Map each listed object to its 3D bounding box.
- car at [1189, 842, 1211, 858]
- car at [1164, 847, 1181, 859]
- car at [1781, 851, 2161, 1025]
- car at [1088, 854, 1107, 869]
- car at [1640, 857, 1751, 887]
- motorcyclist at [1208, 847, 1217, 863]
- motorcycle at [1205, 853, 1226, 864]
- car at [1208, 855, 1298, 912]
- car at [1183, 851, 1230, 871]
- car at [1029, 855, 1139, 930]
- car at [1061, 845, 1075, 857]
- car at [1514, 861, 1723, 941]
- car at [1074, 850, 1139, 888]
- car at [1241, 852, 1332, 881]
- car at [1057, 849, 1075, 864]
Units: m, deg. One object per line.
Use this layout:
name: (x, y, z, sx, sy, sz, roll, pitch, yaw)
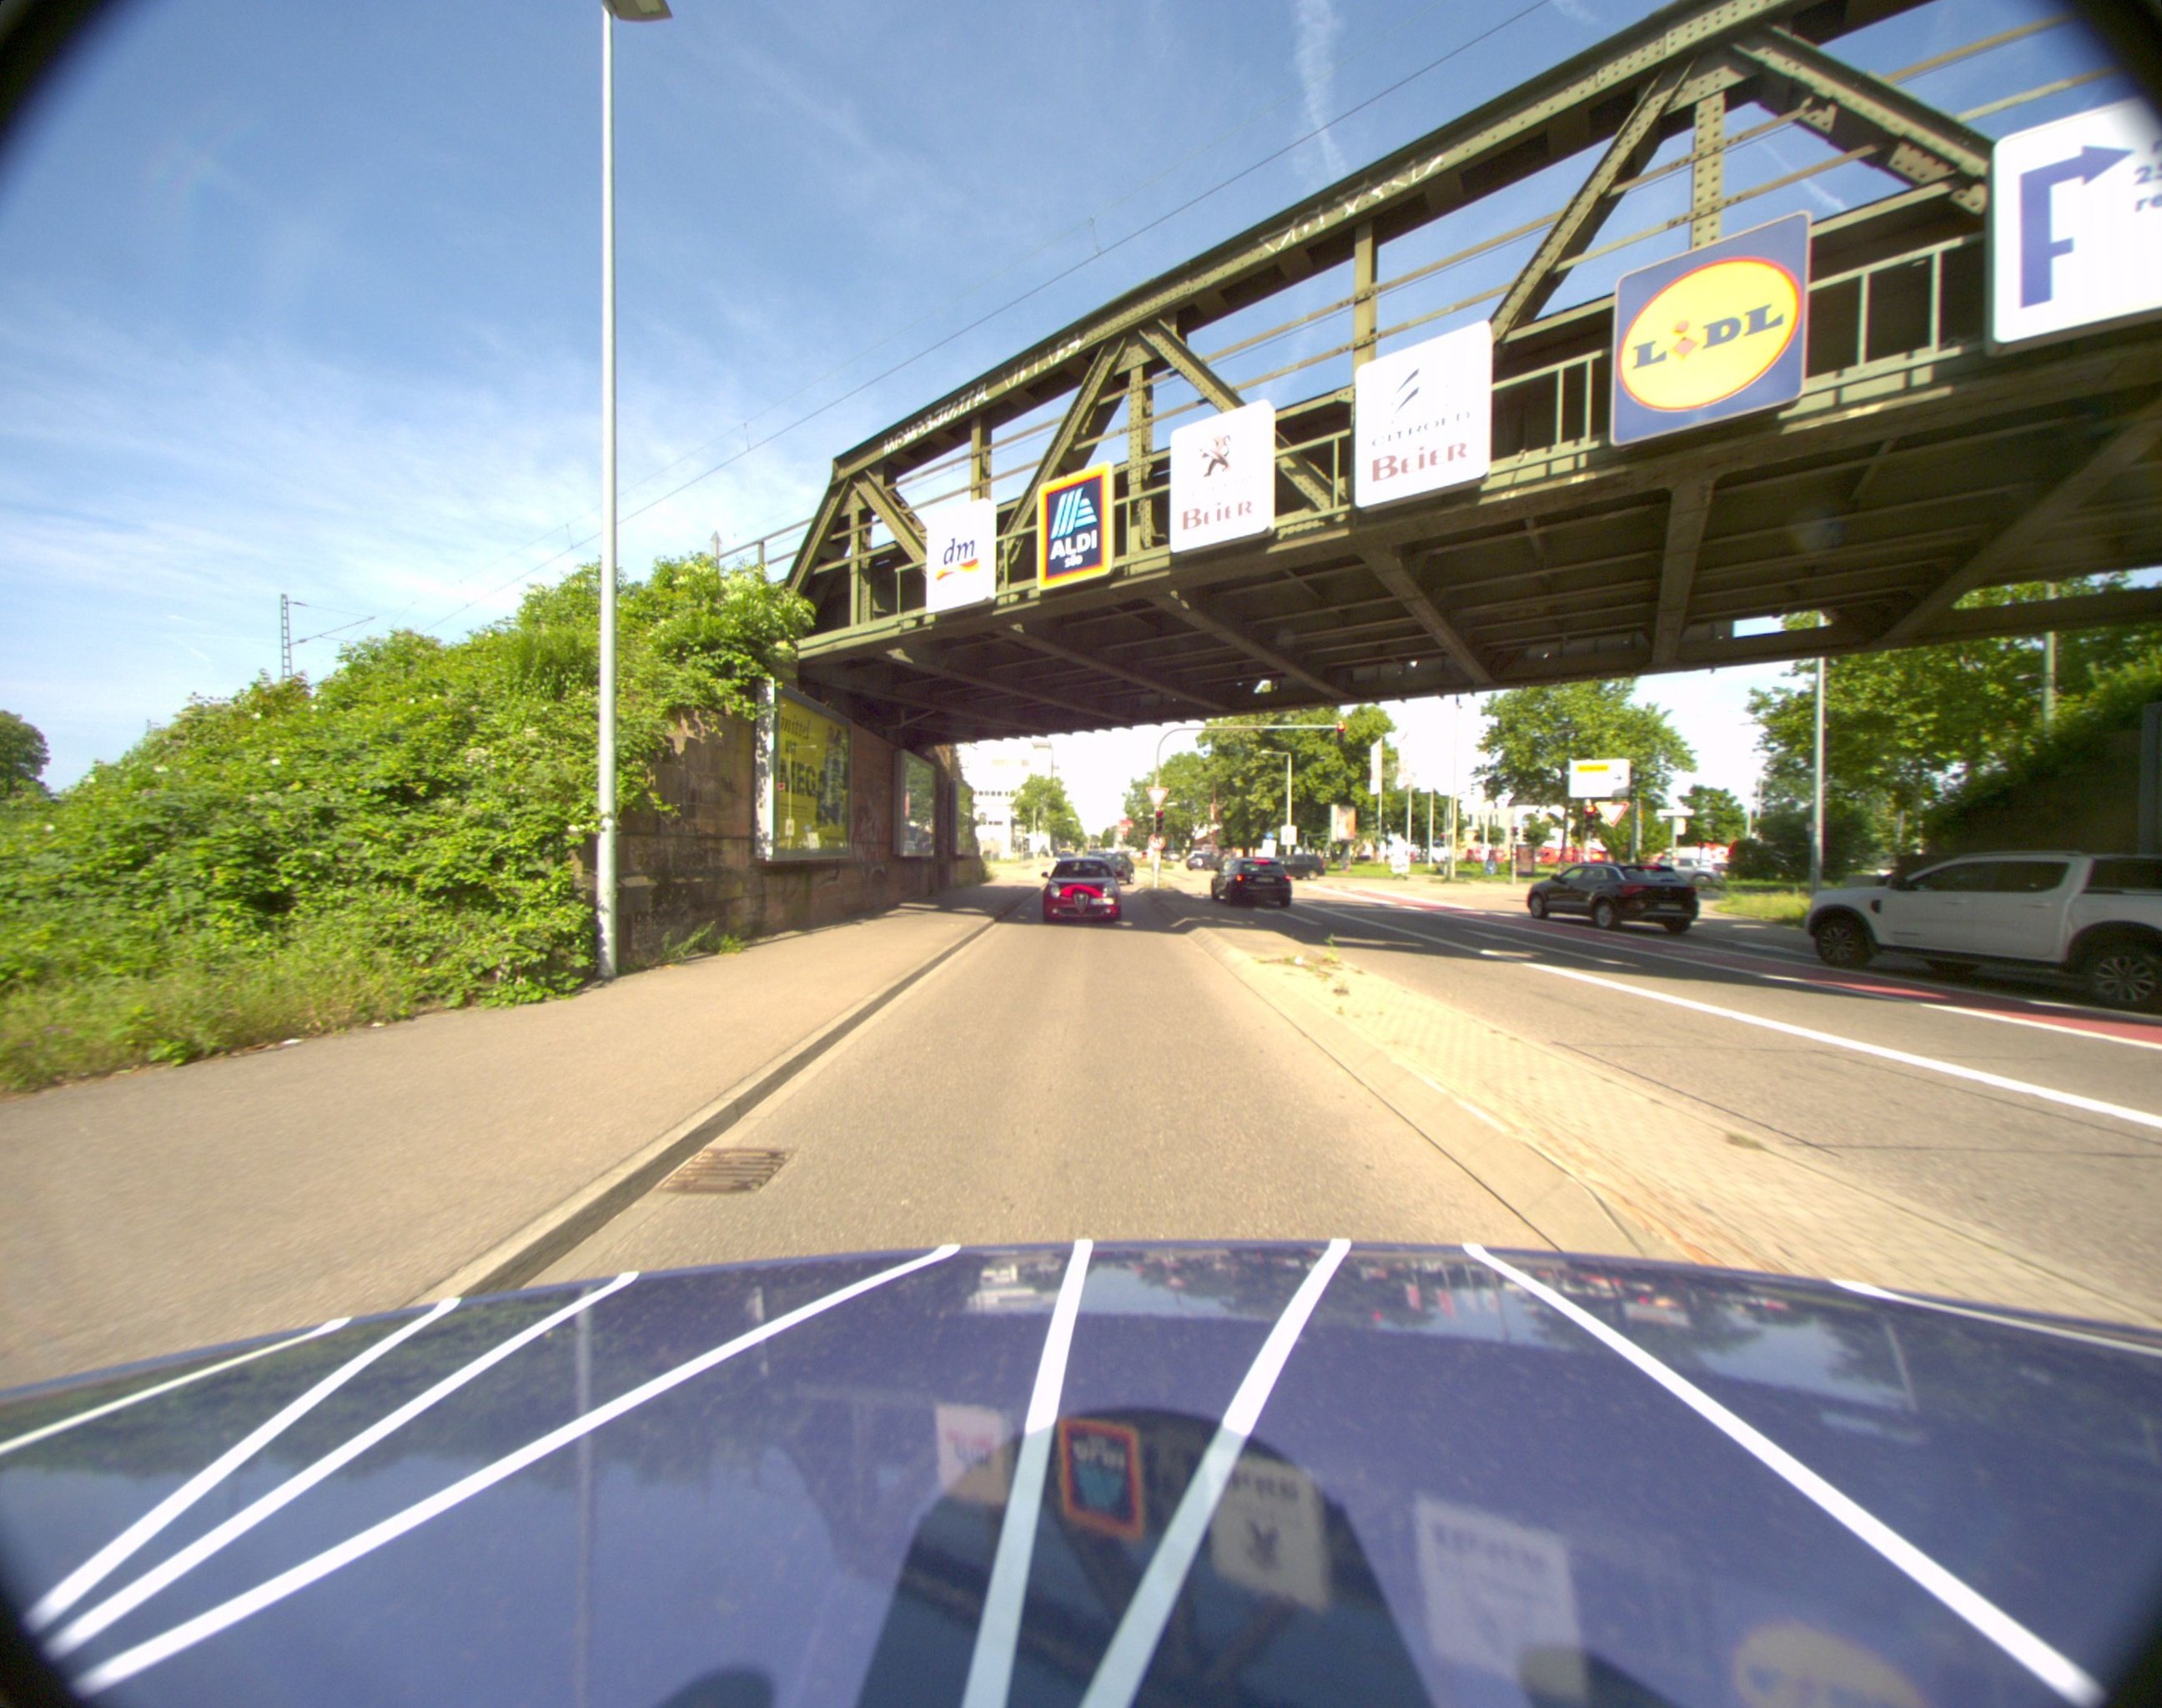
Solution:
car: (13.866, -0.481, 88.854, 1.824, 1.712, 3.635, -1, 1, -2)
car: (13.584, -0.097, 112.585, 1.927, 1.712, 3.824, -1, 1, -2)
car: (12.757, 0.952, 9.992, 1.998, 1.850, 5.450, 2, 1, 0)
car: (1.672, 0.729, 77.746, 1.824, 1.467, 4.245, 1, 1, -1)
car: (32.572, 0.925, 40.456, 4.446, 1.407, 1.707, 2, 2, 35)
motorcyclist: (13.100, 0.114, 75.776, 0.643, 1.519, 0.632, -1, 1, -20)
motorcycle: (13.404, 0.448, 75.839, 1.985, 1.077, 0.777, 0, 1, -21)
car: (5.018, 0.807, 22.701, 1.785, 1.439, 4.119, 1, 1, 1)
car: (10.806, 0.561, 65.121, 1.820, 1.632, 4.686, 2, 1, 40)
car: (0.203, 0.809, 17.890, 1.796, 1.446, 3.982, 0, 1, 12)
car: (-1.820, -0.458, 105.465, 1.824, 1.569, 4.245, 1, 1, -1)
car: (12.605, 1.020, 18.257, 1.877, 1.587, 4.386, 1, 1, 0)
car: (1.255, 0.672, 35.726, 1.821, 1.632, 4.118, -1, 1, 20)
car: (12.133, 0.709, 45.059, 4.923, 1.564, 1.703, 1, 1, -1)
car: (-1.615, 0.283, 83.118, 1.824, 1.569, 4.245, 1, 1, -1)
